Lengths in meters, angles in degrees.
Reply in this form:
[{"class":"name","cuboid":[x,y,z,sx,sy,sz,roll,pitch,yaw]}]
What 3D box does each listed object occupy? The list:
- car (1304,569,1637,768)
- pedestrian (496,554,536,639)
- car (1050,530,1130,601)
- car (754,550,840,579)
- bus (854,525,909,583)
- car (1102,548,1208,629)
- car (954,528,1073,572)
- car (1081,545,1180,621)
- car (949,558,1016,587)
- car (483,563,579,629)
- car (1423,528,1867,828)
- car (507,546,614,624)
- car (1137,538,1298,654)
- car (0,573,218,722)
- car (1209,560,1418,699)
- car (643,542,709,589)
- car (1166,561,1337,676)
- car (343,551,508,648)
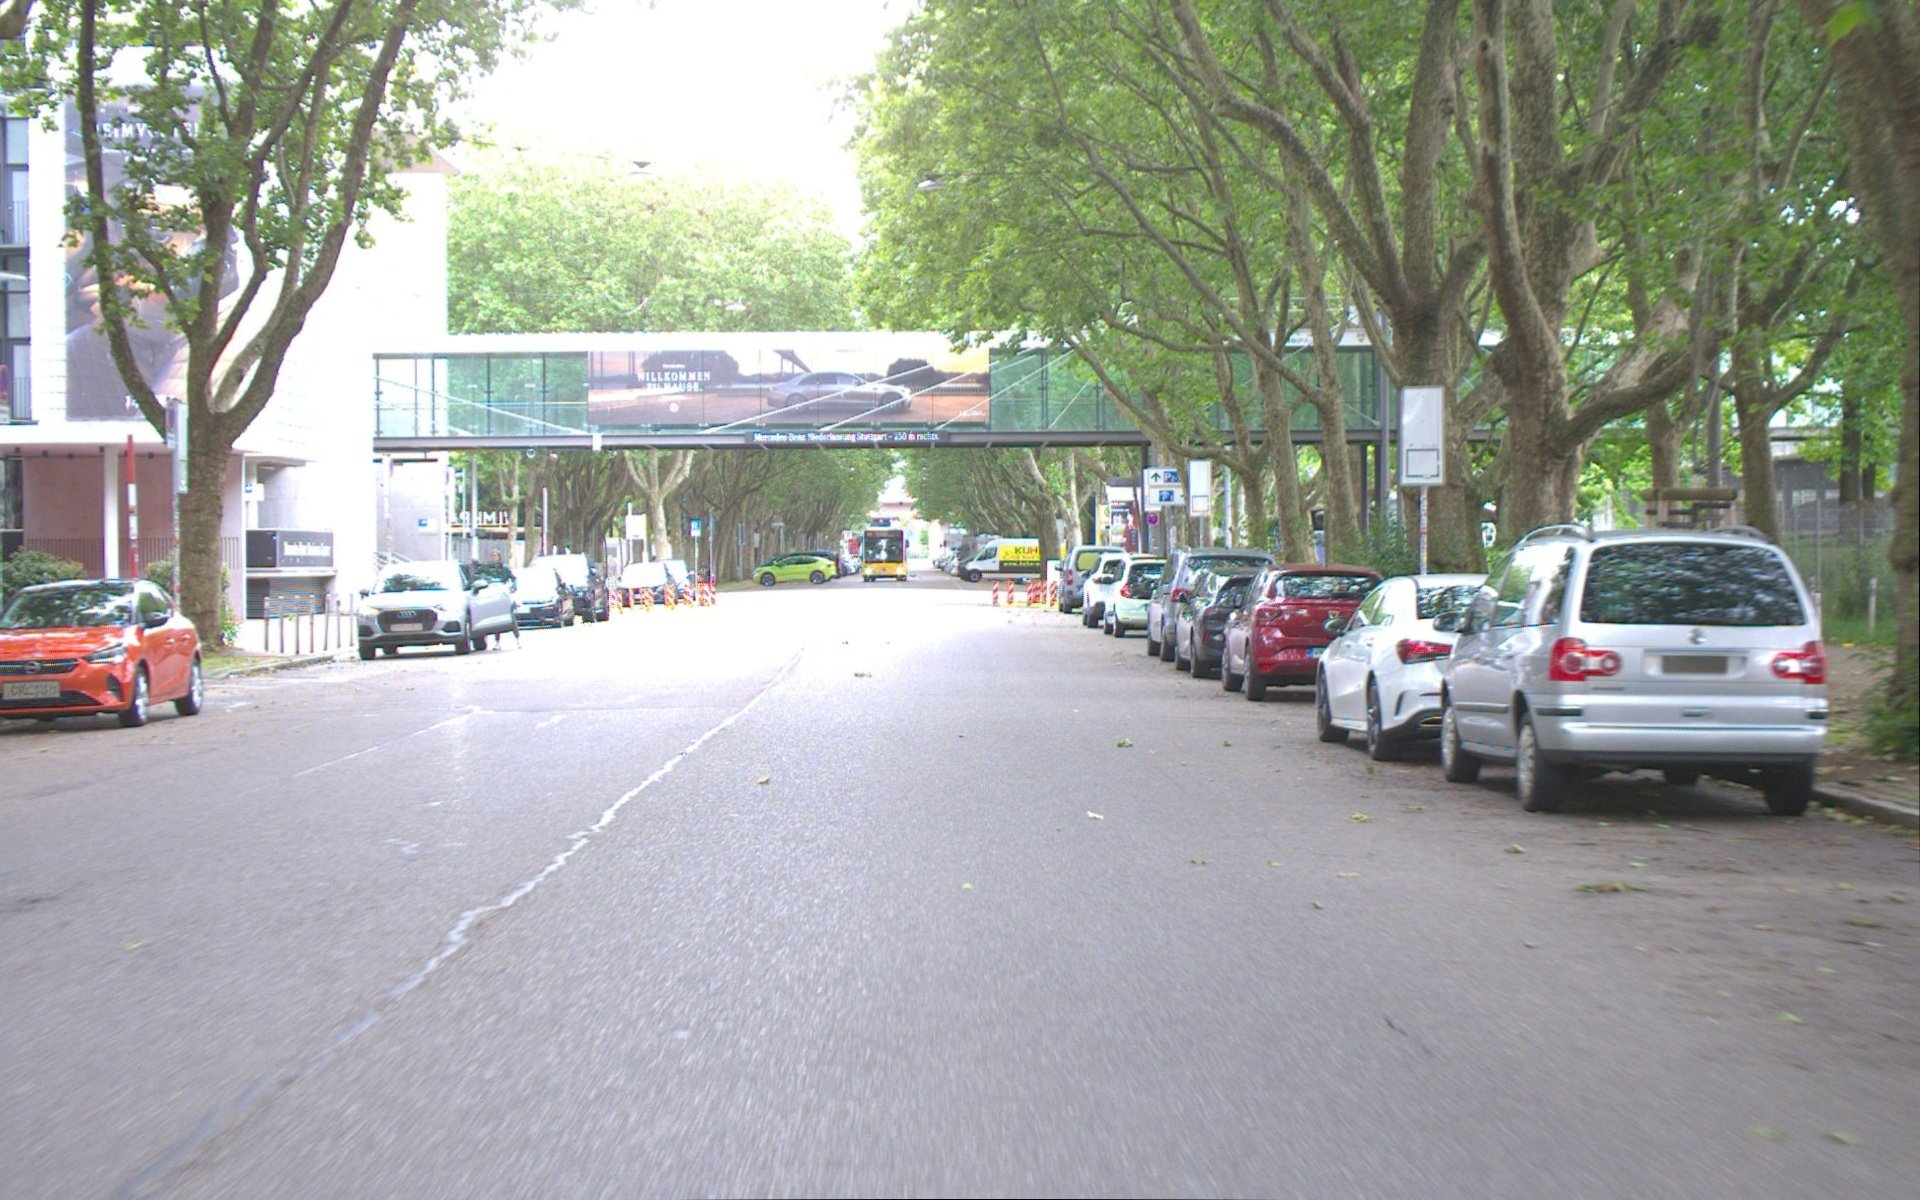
[{"class":"car","cuboid":[3.966,0.483,27.471,1.877,1.422,4.586,0,1,-1]},{"class":"pedestrian","cuboid":[-7.683,-0.063,59.534,0.584,1.461,0.567,1,1,3]},{"class":"car","cuboid":[3.401,-0.910,90.930,1.847,1.777,5.211,1,1,0]},{"class":"car","cuboid":[-9.090,-1.985,191.614,4.700,1.579,1.864,0,0,1]},{"class":"bus","cuboid":[-4.612,-2.670,201.501,3.038,3.149,12.678,-2,1,-1]},{"class":"car","cuboid":[3.763,-0.228,66.838,1.807,1.521,4.096,0,1,0]},{"class":"car","cuboid":[3.135,-2.922,201.494,6.822,2.505,2.317,0,1,-2]},{"class":"car","cuboid":[3.689,-0.378,75.133,1.914,1.612,4.749,0,1,0]},{"class":"car","cuboid":[1.368,-1.681,209.057,3.987,1.788,1.543,0,0,-1]},{"class":"car","cuboid":[-10.112,-0.121,81.275,1.704,1.415,4.325,-3,1,0]},{"class":"car","cuboid":[4.267,0.419,22.142,1.903,1.733,4.507,0,1,-1]},{"class":"car","cuboid":[-10.004,-0.406,86.363,2.034,1.783,4.908,-3,1,0]},{"class":"car","cuboid":[3.865,-0.083,52.368,1.981,1.674,4.732,0,1,-1]},{"class":"car","cuboid":[-8.692,0.429,34.087,1.808,1.349,4.000,0,1,0]},{"class":"car","cuboid":[3.924,0.290,38.798,1.856,1.476,4.178,0,1,-1]},{"class":"car","cuboid":[-10.304,-1.278,124.971,1.993,1.579,4.113,-3,1,0]},{"class":"car","cuboid":[3.798,0.208,45.471,1.877,1.422,4.480,0,1,0]},{"class":"car","cuboid":[-9.020,-0.040,58.400,2.073,1.557,4.756,0,1,0]}]
